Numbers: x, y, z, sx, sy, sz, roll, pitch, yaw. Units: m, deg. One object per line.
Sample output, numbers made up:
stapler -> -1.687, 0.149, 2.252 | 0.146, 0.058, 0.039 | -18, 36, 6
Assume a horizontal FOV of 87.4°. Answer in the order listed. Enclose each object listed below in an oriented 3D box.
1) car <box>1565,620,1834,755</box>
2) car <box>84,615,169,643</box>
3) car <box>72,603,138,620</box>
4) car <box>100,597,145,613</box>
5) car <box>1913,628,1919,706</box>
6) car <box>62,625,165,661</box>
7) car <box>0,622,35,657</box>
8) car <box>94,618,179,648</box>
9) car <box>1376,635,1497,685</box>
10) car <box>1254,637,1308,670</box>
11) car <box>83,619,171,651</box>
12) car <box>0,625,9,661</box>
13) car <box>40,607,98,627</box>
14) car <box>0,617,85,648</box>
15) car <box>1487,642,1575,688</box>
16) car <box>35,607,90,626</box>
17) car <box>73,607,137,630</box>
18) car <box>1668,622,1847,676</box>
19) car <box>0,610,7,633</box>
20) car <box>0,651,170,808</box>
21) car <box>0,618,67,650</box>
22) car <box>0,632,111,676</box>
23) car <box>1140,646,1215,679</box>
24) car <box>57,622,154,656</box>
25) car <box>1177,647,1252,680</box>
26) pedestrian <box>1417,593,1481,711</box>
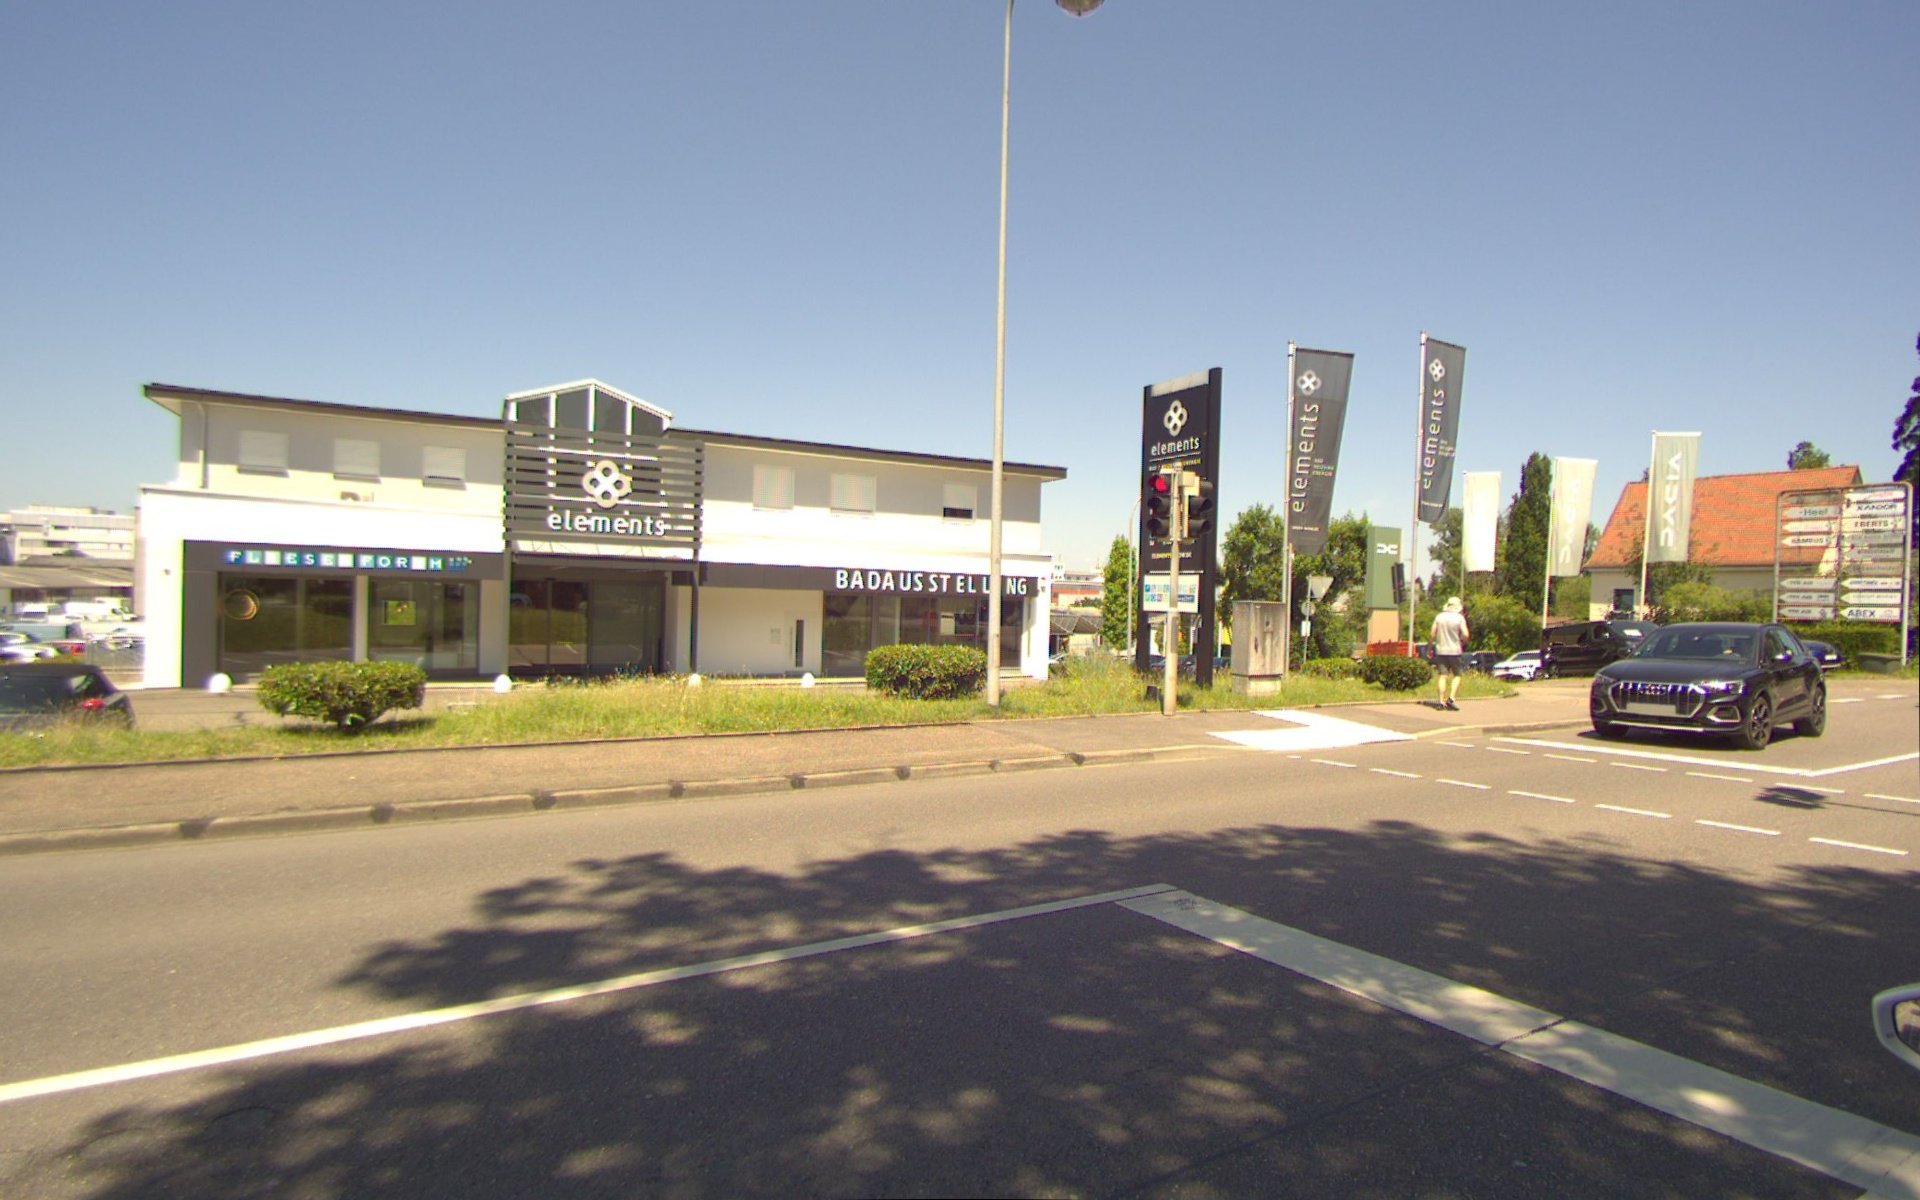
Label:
car -> 10.453, 1.117, 14.104 | 4.263, 1.576, 1.912 | 2, -1, -37
car -> -55.258, 1.931, 66.681 | 4.004, 1.778, 1.719 | 2, -1, -28
car -> -95.728, 1.317, 112.517 | 5.236, 1.778, 2.051 | 2, -1, -28
car -> -99.685, 0.627, 119.603 | 3.726, 1.778, 1.719 | 2, -1, -28
car -> 20.839, 1.362, 20.030 | 4.011, 1.527, 1.857 | 2, -1, -34
car -> -43.597, 2.217, 51.806 | 3.726, 1.778, 1.719 | 2, -1, -28
car -> -51.429, 2.063, 52.793 | 3.726, 1.778, 1.719 | 2, -1, -28
car -> -50.661, 2.052, 61.859 | 3.726, 1.778, 1.719 | 2, -1, -28
car -> 18.360, 2.309, 38.731 | 4.022, 1.744, 1.808 | 2, 0, -16
car -> 18.830, 3.114, 58.774 | 1.785, 1.744, 4.075 | 1, 0, 36
car -> -49.388, 2.079, 59.640 | 3.726, 1.778, 1.719 | 2, -1, -28
car -> -49.209, 2.090, 48.970 | 3.726, 1.778, 1.719 | 2, -1, -28
car -> -83.586, 1.612, 94.316 | 3.725, 1.778, 1.719 | 0, 1, -27
car -> -54.775, 1.915, 59.754 | 3.726, 1.778, 1.719 | 2, -1, -28
car -> 23.969, 2.688, 42.124 | 4.053, 1.744, 1.795 | 2, 0, -38
car -> -88.200, 1.596, 98.775 | 3.726, 1.778, 1.719 | 1, 1, -28
car -> -71.029, 1.546, 83.506 | 3.726, 1.778, 1.719 | 2, 1, -28
car -> 24.987, 1.486, 31.662 | 1.751, 1.524, 4.129 | 1, -1, -20
car -> -74.810, 1.608, 75.840 | 3.726, 1.778, 1.719 | 2, 0, -28
car -> -11.731, 1.507, 12.703 | 1.746, 1.553, 4.076 | 1, -1, -24
car -> -53.477, 1.939, 57.087 | 3.726, 1.778, 1.719 | 2, -1, -28
car -> -39.359, 2.306, 43.414 | 3.726, 1.778, 1.719 | 2, -1, -28
car -> 10.906, 3.083, 50.193 | 3.973, 1.506, 1.735 | 2, -1, -44
car -> -46.935, 2.134, 55.250 | 3.726, 1.778, 1.719 | 2, -1, -28
car -> 12.153, 2.981, 47.841 | 3.839, 1.434, 1.633 | 2, -1, -42
pedestrian -> 7.568, 0.798, 15.566 | 0.689, 1.785, 0.545 | 1, 0, -4
